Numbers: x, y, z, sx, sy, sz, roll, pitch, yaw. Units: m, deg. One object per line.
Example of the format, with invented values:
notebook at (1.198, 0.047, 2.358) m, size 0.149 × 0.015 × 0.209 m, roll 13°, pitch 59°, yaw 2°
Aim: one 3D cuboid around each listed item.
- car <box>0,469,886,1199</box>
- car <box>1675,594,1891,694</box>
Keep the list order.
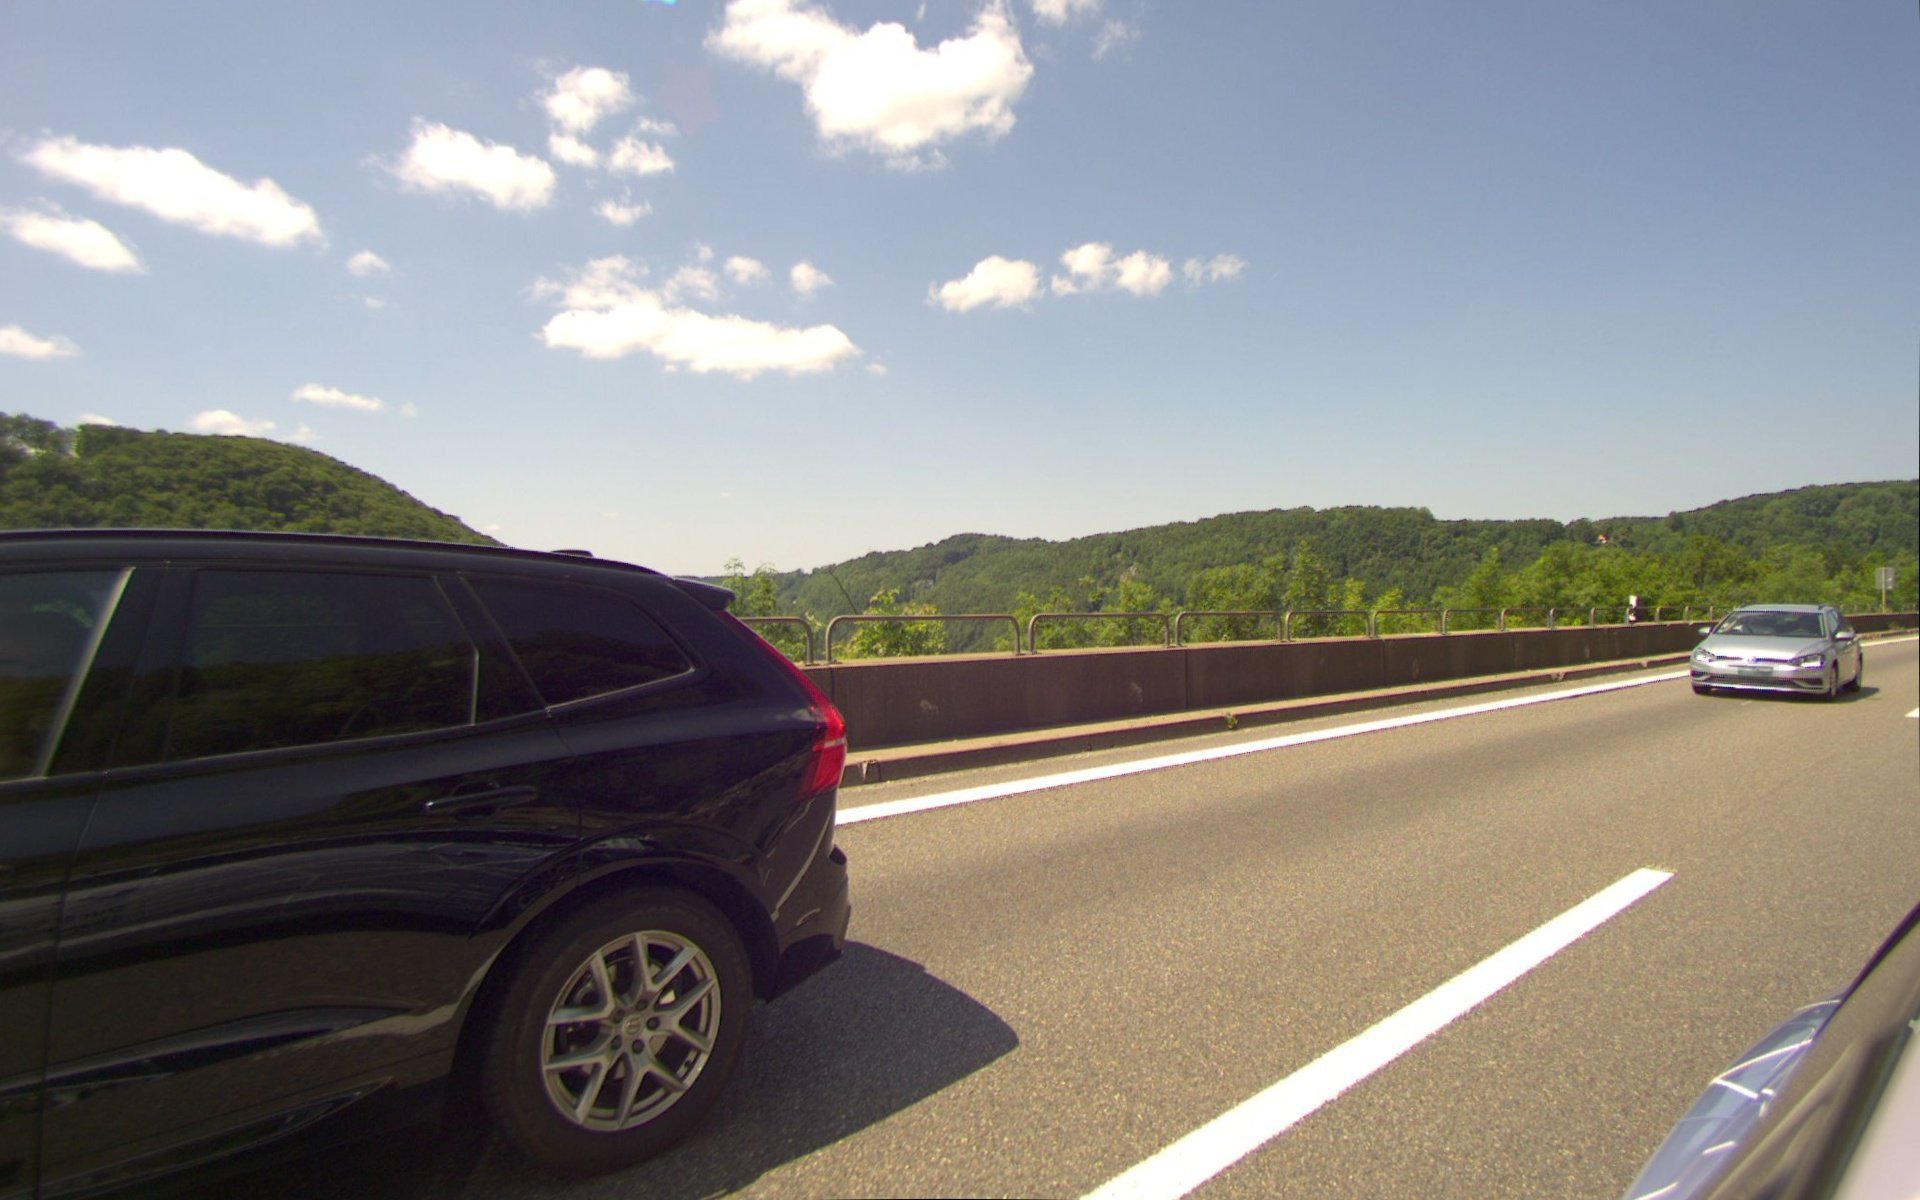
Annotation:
car at (-2.538, 0.611, 2.237) m, size 4.582 × 1.654 × 1.837 m, roll 0°, pitch -1°, yaw -42°
car at (13.550, 0.619, 16.586) m, size 4.217 × 1.395 × 1.972 m, roll -1°, pitch 1°, yaw -40°
